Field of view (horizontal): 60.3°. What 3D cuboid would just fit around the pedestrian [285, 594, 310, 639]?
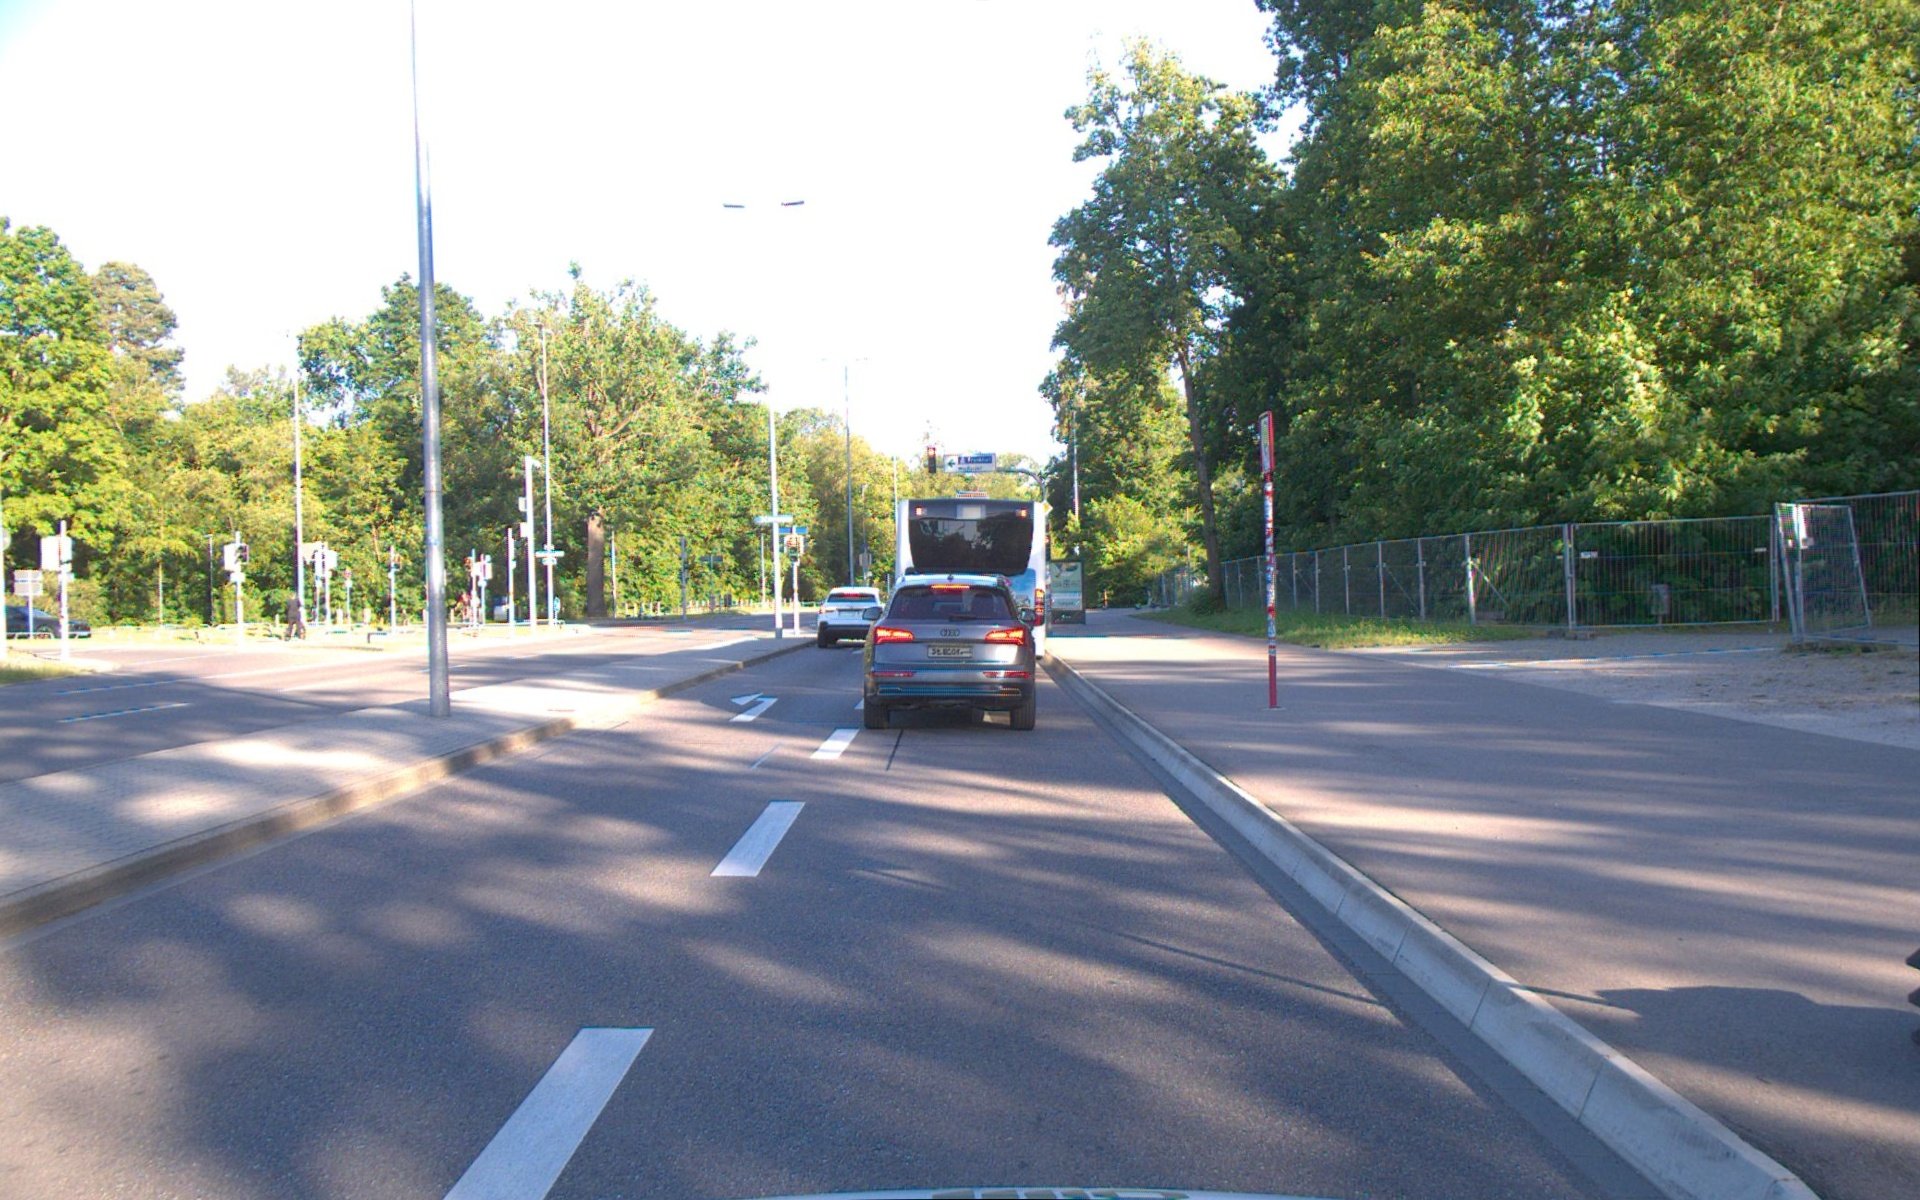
[{"bbox_3d":[-23.458,0.583,58.563,0.643,1.587,0.531,-2,0,-42],"label":"pedestrian"}]

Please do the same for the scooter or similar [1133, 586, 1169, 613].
[{"bbox_3d":[10.904,-0.006,94.461,1.990,1.469,0.601,-2,0,-25],"label":"scooter or similar"}]

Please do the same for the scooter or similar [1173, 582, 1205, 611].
[{"bbox_3d":[13.245,-0.198,95.743,0.535,1.594,1.994,-2,0,-39],"label":"scooter or similar"}]

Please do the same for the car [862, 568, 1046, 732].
[{"bbox_3d":[-0.057,0.495,18.818,1.859,1.660,4.000,0,0,0],"label":"car"}]

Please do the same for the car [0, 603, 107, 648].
[{"bbox_3d":[-34.886,0.968,62.067,4.677,1.524,1.999,-2,0,-2],"label":"car"}]

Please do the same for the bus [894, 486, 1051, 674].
[{"bbox_3d":[0.213,-0.309,31.365,2.541,3.041,9.326,0,0,0],"label":"bus"}]

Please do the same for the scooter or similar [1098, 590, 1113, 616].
[{"bbox_3d":[8.534,0.183,96.966,0.498,1.469,2.020,-2,0,-5],"label":"scooter or similar"}]

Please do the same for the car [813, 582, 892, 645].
[{"bbox_3d":[-2.807,0.328,43.819,1.799,1.545,4.000,-1,0,0],"label":"car"}]
